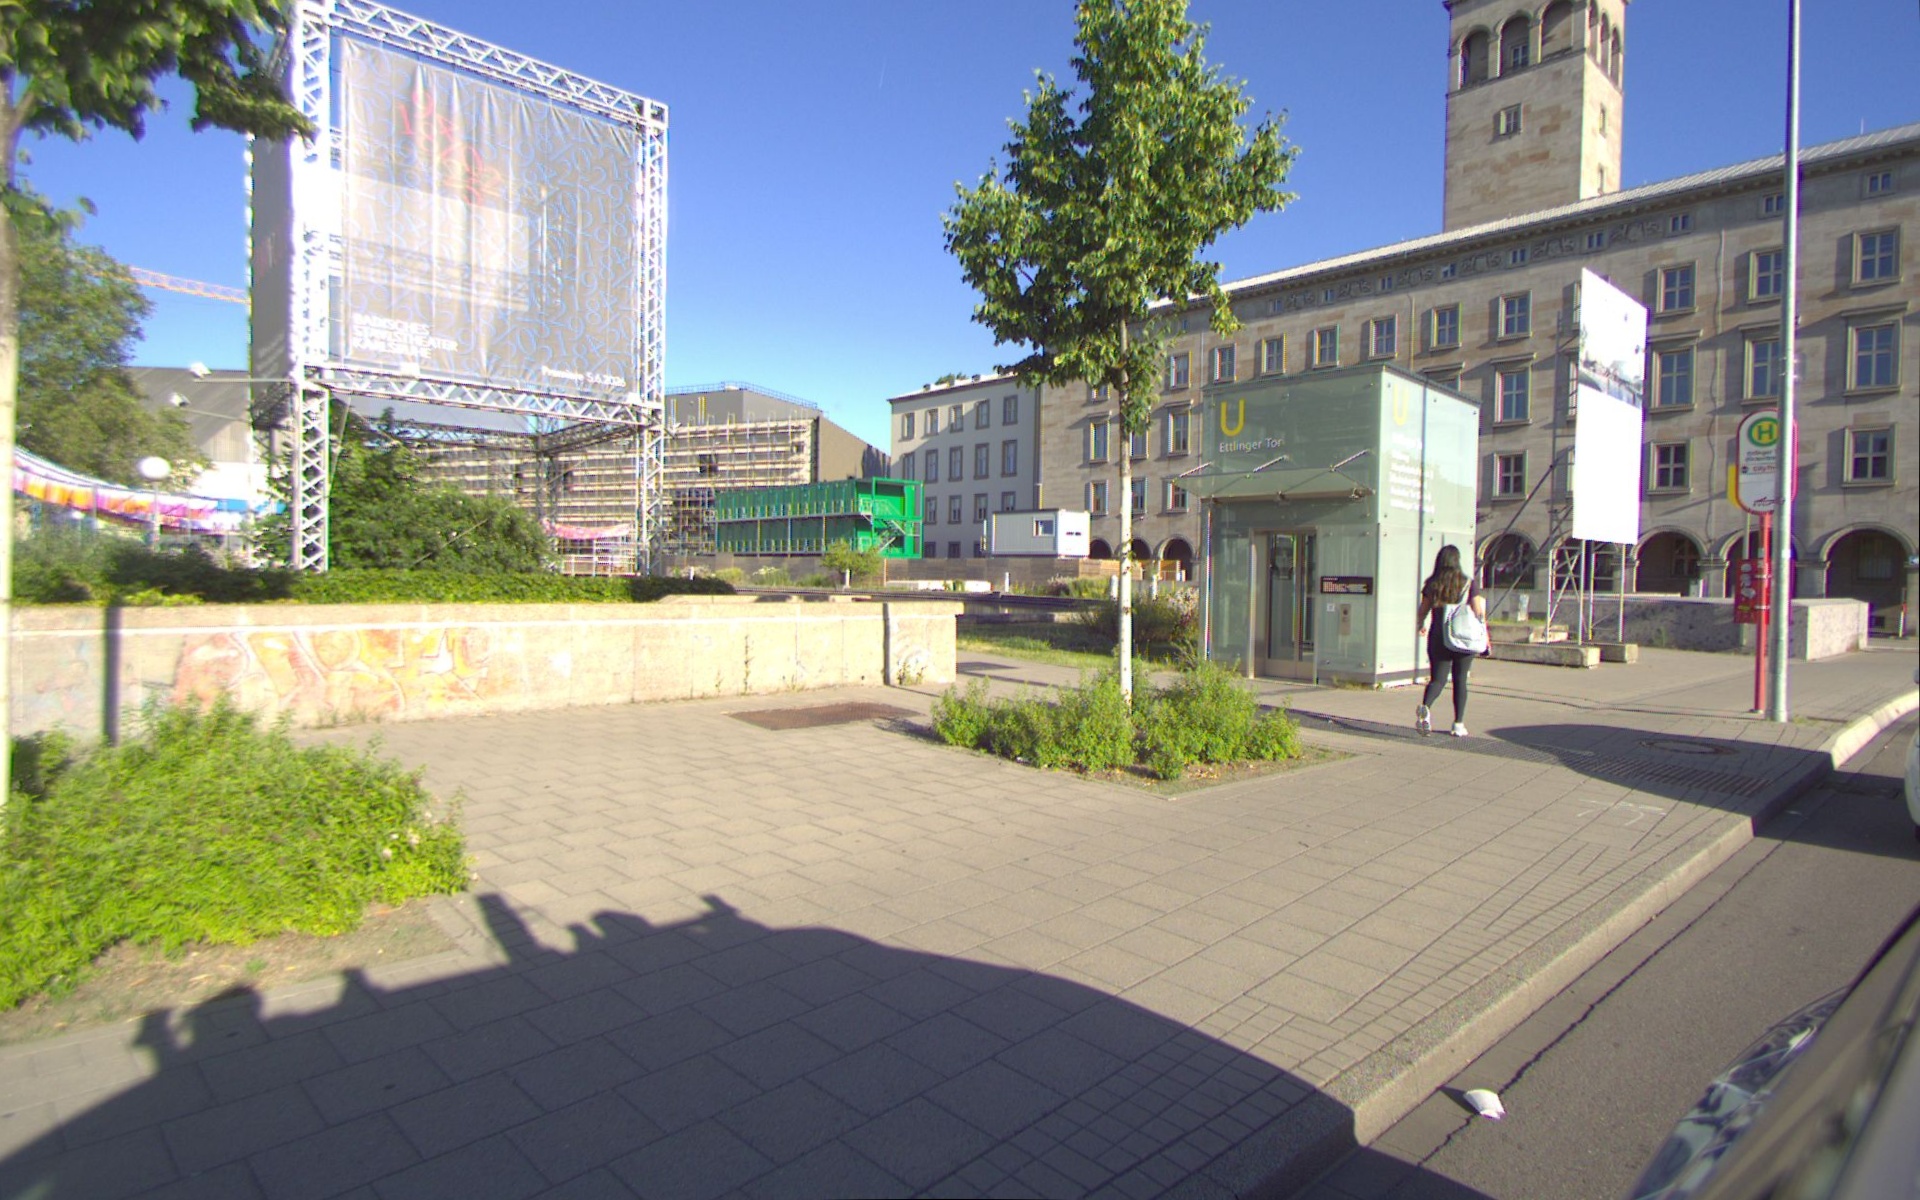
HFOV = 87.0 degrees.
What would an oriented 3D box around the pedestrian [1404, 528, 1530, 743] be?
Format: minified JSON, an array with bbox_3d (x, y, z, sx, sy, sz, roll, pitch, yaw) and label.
[{"bbox_3d":[4.566,0.279,9.199,0.932,1.809,1.064,1,1,24],"label":"pedestrian"}]

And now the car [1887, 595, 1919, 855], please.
[{"bbox_3d":[7.377,0.707,6.228,3.815,1.467,1.680,0,0,-35],"label":"car"}]
